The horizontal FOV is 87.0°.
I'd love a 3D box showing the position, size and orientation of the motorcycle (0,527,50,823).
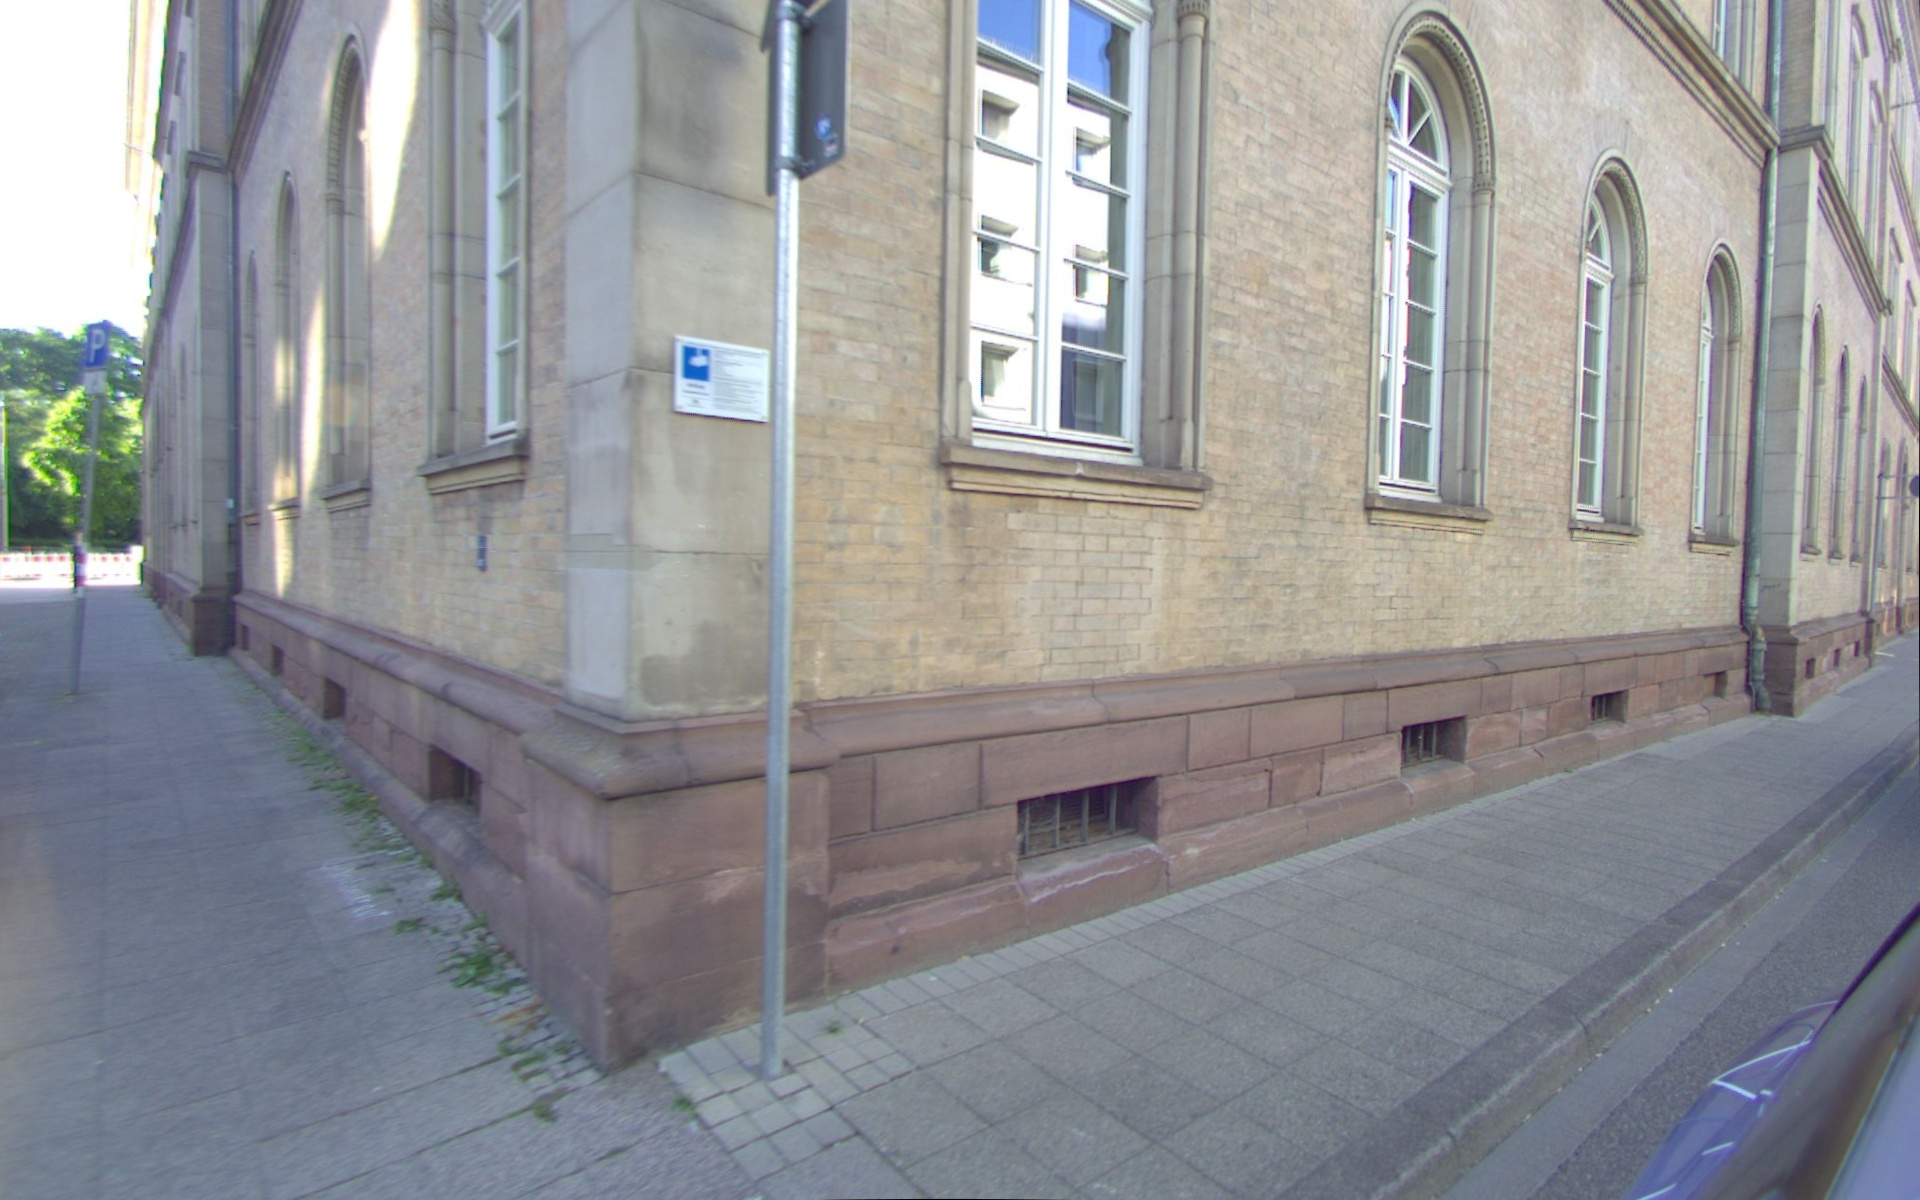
[{"bbox_3d":[-4.762,0.384,3.812,0.694,1.349,2.079,1,3,3],"label":"motorcycle"}]
